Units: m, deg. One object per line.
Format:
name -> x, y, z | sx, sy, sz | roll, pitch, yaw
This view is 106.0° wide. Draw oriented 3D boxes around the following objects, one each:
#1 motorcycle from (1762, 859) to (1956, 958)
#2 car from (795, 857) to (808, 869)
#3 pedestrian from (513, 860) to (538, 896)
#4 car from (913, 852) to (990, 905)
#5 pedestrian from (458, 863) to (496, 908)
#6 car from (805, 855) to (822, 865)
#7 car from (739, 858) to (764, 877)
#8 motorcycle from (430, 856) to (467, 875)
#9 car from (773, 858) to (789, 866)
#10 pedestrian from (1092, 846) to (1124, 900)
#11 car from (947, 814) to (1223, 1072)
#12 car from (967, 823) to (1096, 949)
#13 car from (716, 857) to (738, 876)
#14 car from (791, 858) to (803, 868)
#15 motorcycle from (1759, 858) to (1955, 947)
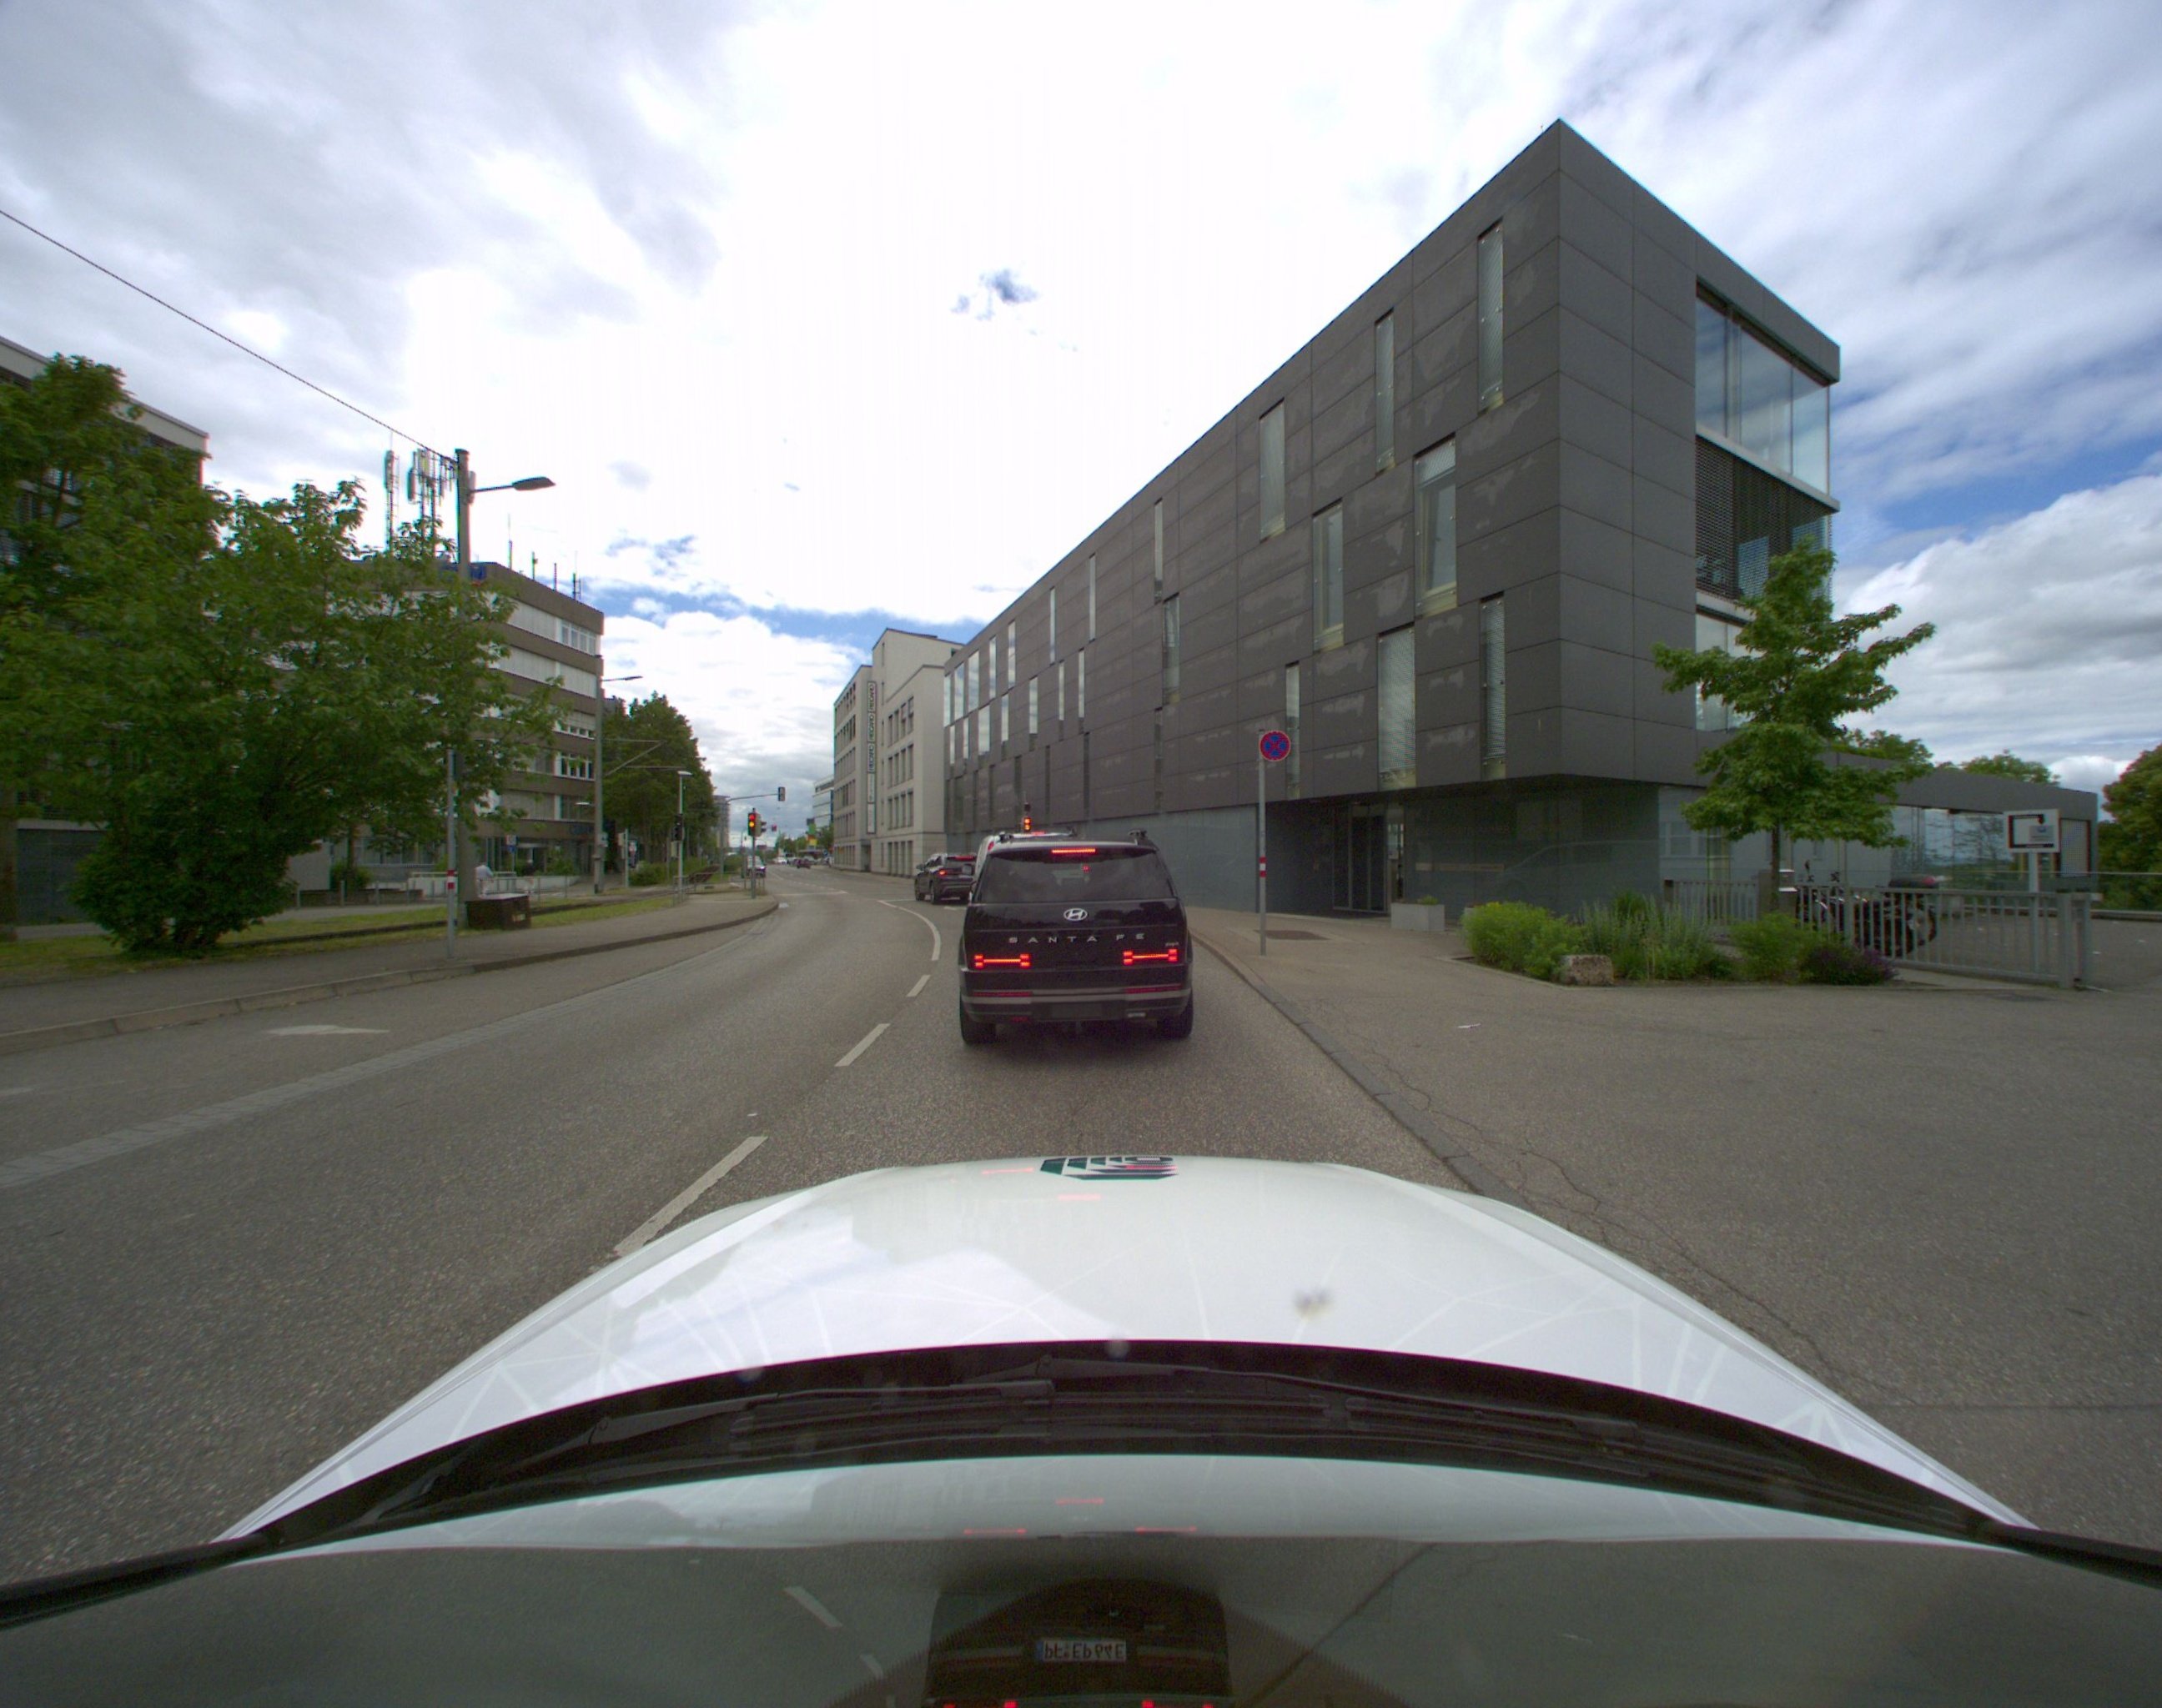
motorcycle -> 11.960, 0.778, 12.629 | 0.669, 1.393, 2.112 | 0, 0, -17
car -> -41.513, 1.315, 120.832 | 1.765, 1.609, 4.159 | 0, 0, -20
pedestrian -> -26.321, 1.130, 38.619 | 0.686, 1.705, 0.682 | -2, 0, -3
car -> -4.385, 0.747, 27.128 | 1.765, 1.609, 4.159 | 0, 0, -20
pedestrian -> -21.488, 1.095, 29.003 | 0.852, 1.526, 0.987 | -2, 0, -25
car -> -51.129, 1.214, 155.484 | 2.009, 1.852, 3.956 | 0, 0, -35
car -> -27.239, 1.131, 67.487 | 1.774, 1.479, 3.972 | -2, 0, -21
motorcycle -> -41.454, 0.776, 53.409 | 1.878, 1.199, 0.566 | -1, 0, -9
car -> -59.915, 1.527, 162.619 | 2.009, 1.578, 3.956 | 0, 0, -36
pedestrian -> 0.859, 0.597, 26.193 | 0.715, 1.694, 0.858 | 1, -1, -25
car -> -0.119, 0.616, 7.893 | 1.905, 1.749, 4.390 | -1, 0, -4
car -> -1.091, 0.503, 15.301 | 1.932, 1.994, 4.519 | 0, 0, -10
car -> -35.441, 1.230, 81.546 | 1.687, 1.808, 4.322 | -2, 0, -20
car -> -47.947, 1.487, 137.558 | 1.765, 1.609, 4.159 | 0, 0, -20
motorcycle -> 13.365, 0.772, 14.164 | 0.669, 1.393, 2.449 | 0, 0, -17
